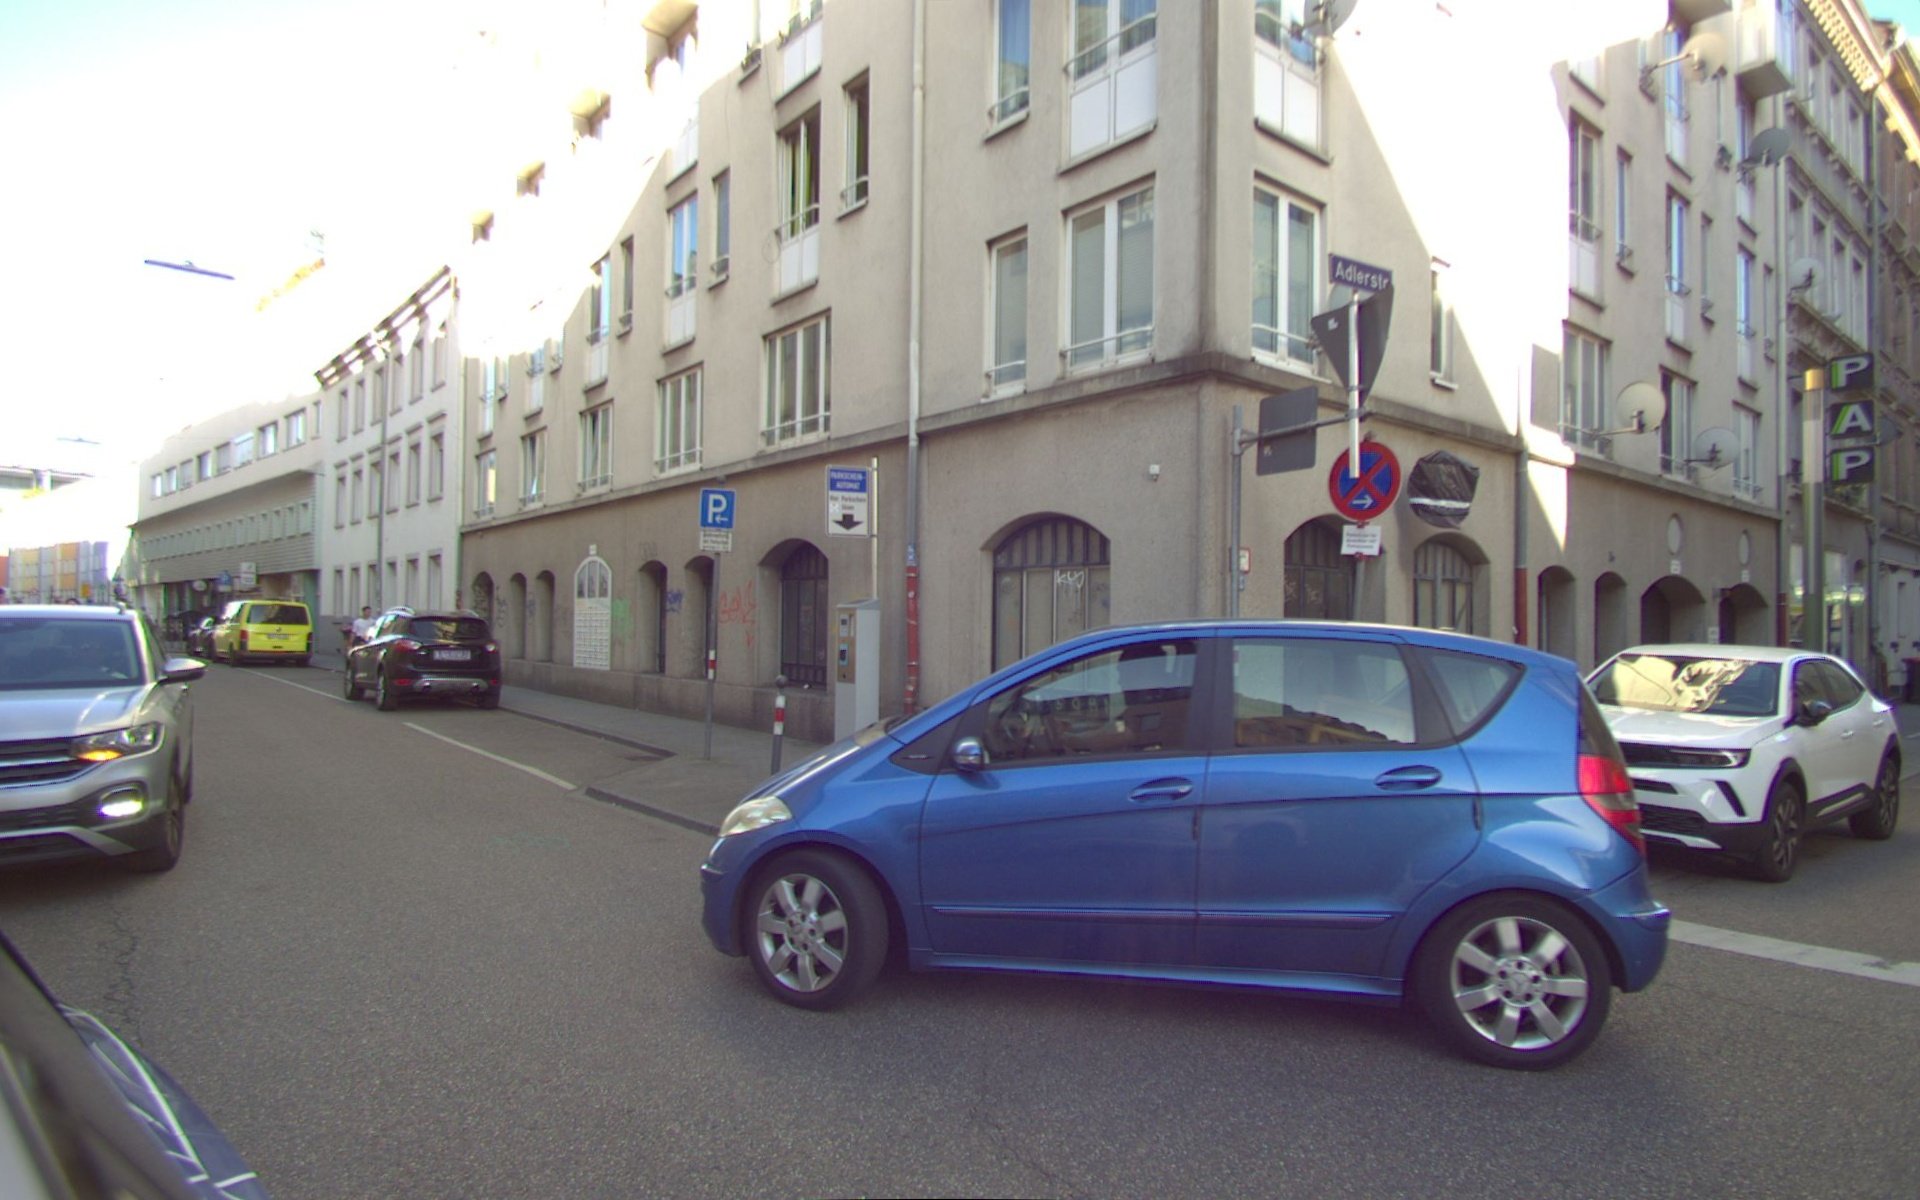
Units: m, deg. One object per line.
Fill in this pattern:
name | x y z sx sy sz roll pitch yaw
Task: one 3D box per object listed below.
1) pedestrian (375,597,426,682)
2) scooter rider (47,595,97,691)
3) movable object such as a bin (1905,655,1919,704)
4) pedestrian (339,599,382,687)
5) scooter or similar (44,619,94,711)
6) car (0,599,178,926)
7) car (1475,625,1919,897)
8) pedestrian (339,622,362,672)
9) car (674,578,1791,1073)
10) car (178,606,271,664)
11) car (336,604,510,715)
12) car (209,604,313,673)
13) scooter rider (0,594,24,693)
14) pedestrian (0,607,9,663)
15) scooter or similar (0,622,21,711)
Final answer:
pedestrian | -13.629 0.958 24.650 0.923 2.029 0.700 2 -2 -42
scooter rider | -14.479 0.690 16.502 0.583 1.519 0.601 -1 0 -42
movable object such as a bin | 22.118 1.815 23.023 0.743 1.056 0.838 -1 0 -43
pedestrian | -14.132 1.001 23.866 0.705 2.029 0.700 2 -2 -42
scooter or similar | -14.390 1.016 16.346 0.542 1.407 1.558 2 -2 -41
car | -5.980 0.799 6.274 1.735 1.558 4.008 1 -1 -38
car | 5.951 1.043 7.928 3.903 1.605 1.748 2 -1 -34
pedestrian | -18.012 1.382 29.894 0.547 1.459 0.584 2 -2 -31
car | 0.910 0.789 4.453 3.760 1.605 1.853 0 -3 6
car | -24.748 1.157 34.009 1.861 1.781 4.003 5 -4 -44
car | -9.548 1.007 17.846 1.859 1.717 4.007 5 -4 -39
car | -20.673 1.069 29.872 1.861 1.888 4.003 0 -1 -44
scooter rider | -15.929 0.717 16.732 0.638 1.605 0.601 -1 0 -42
pedestrian | -34.911 1.252 36.587 0.705 2.029 0.700 2 -2 -42
scooter or similar | -15.818 1.063 16.599 0.516 1.407 1.558 2 -2 -41
